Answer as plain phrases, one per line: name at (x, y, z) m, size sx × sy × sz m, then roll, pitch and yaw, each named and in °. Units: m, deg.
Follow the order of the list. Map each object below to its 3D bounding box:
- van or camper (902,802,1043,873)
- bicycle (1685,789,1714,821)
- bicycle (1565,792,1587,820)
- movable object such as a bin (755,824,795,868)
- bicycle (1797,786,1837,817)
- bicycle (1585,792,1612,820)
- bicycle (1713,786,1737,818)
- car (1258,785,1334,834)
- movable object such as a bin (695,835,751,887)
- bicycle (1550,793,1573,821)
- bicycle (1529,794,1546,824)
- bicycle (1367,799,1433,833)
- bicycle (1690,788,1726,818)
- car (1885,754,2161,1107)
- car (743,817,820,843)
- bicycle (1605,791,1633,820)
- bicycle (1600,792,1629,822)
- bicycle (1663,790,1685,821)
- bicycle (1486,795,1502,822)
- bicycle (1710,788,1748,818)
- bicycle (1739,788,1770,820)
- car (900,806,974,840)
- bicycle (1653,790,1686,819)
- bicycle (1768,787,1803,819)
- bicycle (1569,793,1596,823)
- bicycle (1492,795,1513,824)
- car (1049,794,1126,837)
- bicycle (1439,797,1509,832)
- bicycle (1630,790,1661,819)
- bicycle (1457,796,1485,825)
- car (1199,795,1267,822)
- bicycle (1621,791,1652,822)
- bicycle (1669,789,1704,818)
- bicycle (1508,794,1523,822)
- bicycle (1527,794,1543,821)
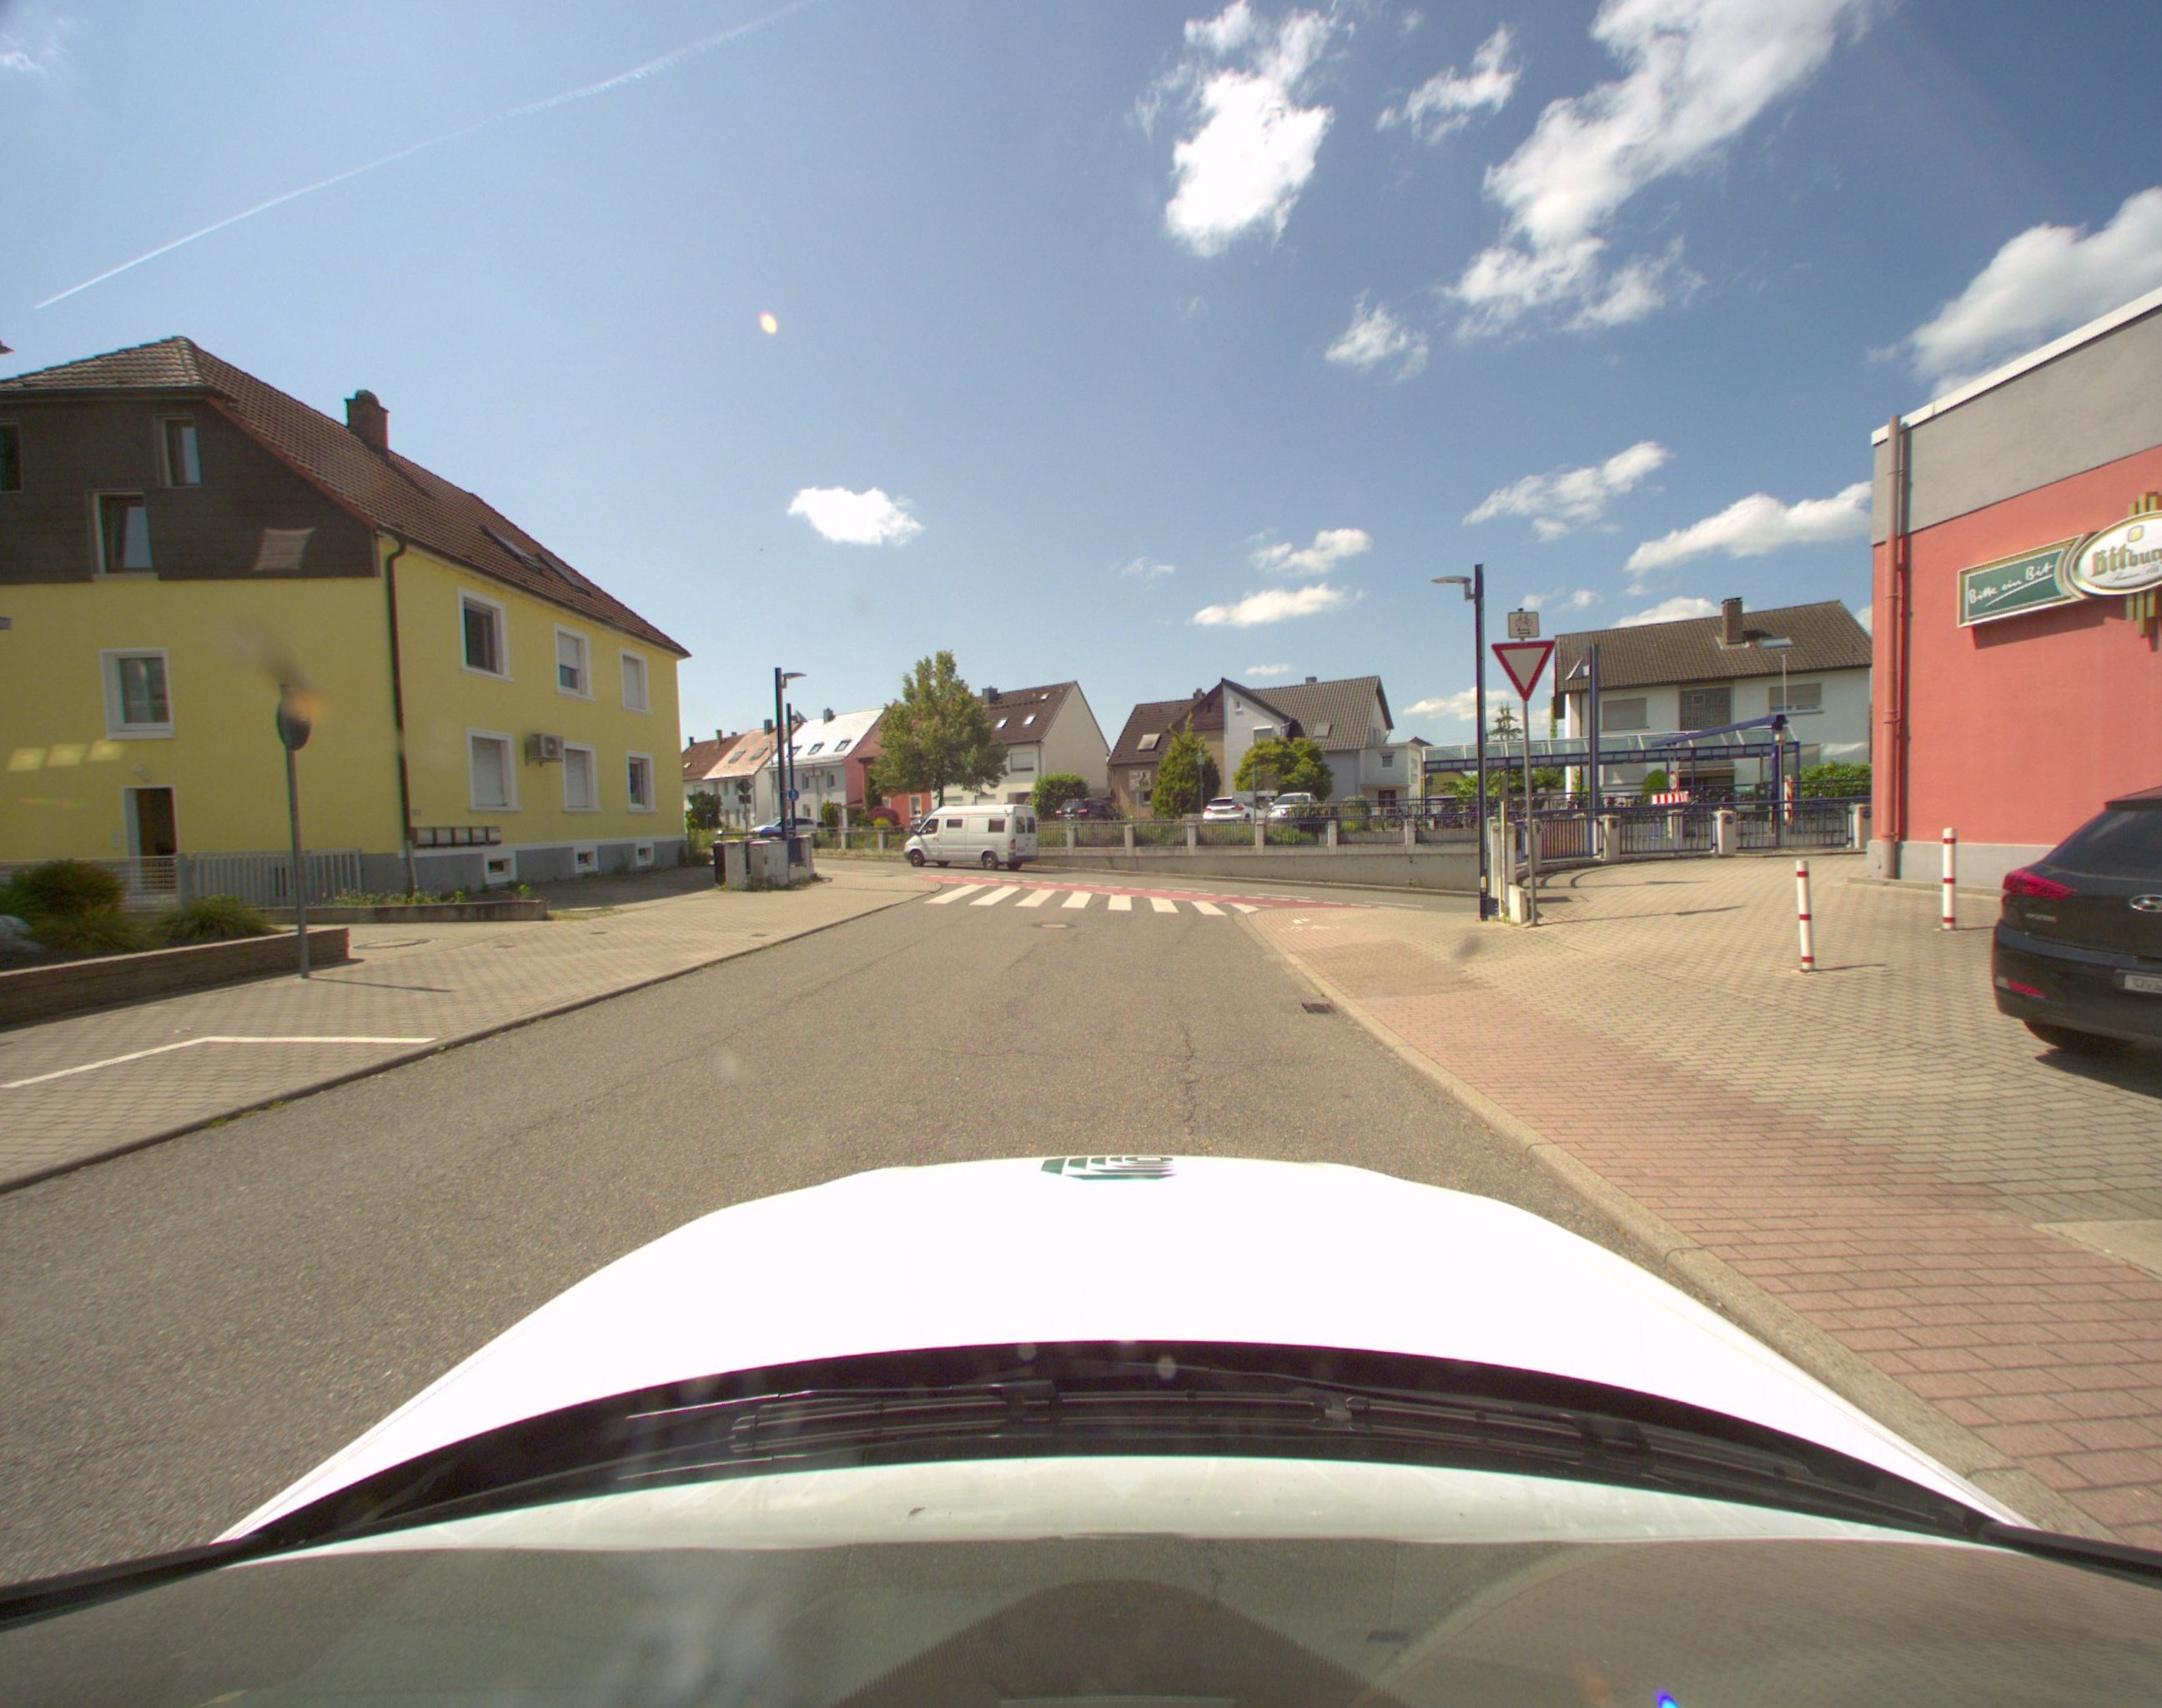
van or camper at (-4.364, -0.702, 32.549) m, size 5.326 × 2.630 × 2.016 m, roll 2°, pitch 1°, yaw 27°
bicycle at (20.541, -1.631, 27.074) m, size 0.510 × 0.994 × 2.052 m, roll 0°, pitch 3°, yaw 30°
bicycle at (18.282, -1.761, 30.110) m, size 0.410 × 0.994 × 1.977 m, roll 0°, pitch 3°, yaw 23°
movable object such as a bin at (-8.729, -0.255, 23.279) m, size 0.840 × 1.213 × 1.272 m, roll -2°, pitch 2°, yaw -11°
bicycle at (24.686, -1.751, 27.329) m, size 0.538 × 0.994 × 2.052 m, roll 0°, pitch 3°, yaw 29°
bicycle at (18.947, -1.765, 29.859) m, size 0.514 × 0.994 × 1.977 m, roll 0°, pitch 3°, yaw 23°
bicycle at (21.194, -1.715, 26.833) m, size 0.510 × 0.994 × 2.052 m, roll 0°, pitch 3°, yaw 35°
car at (8.713, -1.760, 32.780) m, size 1.975 × 1.796 × 4.222 m, roll 3°, pitch 3°, yaw 28°
movable object such as a bin at (-8.743, 0.154, 19.924) m, size 0.881 × 1.225 × 0.903 m, roll -1°, pitch 2°, yaw 4°
bicycle at (17.852, -1.760, 30.308) m, size 0.469 × 0.994 × 1.977 m, roll 0°, pitch 3°, yaw 23°
bicycle at (16.159, -1.607, 28.813) m, size 0.431 × 0.994 × 2.296 m, roll 0°, pitch 3°, yaw 31°
bicycle at (10.992, -1.304, 28.058) m, size 2.096 × 1.125 × 0.335 m, roll 0°, pitch 3°, yaw 22°
bicycle at (22.022, -1.783, 28.640) m, size 0.514 × 0.994 × 1.977 m, roll 0°, pitch 3°, yaw 23°
car at (6.676, 0.137, 3.848) m, size 3.883 × 1.490 × 1.810 m, roll -8°, pitch 1°, yaw 0°
car at (-18.773, -1.508, 51.201) m, size 1.725 × 1.488 × 4.284 m, roll 4°, pitch 3°, yaw 34°
bicycle at (19.612, -1.775, 29.713) m, size 0.514 × 0.994 × 1.812 m, roll 0°, pitch 3°, yaw 23°
bicycle at (18.305, -1.619, 27.965) m, size 0.527 × 0.994 × 2.201 m, roll 0°, pitch 3°, yaw 25°
bicycle at (19.715, -1.609, 27.065) m, size 0.573 × 0.994 × 2.202 m, roll 1°, pitch 3°, yaw 36°
bicycle at (15.912, -1.763, 31.353) m, size 0.369 × 0.994 × 1.979 m, roll 0°, pitch 3°, yaw 32°
bicycle at (22.548, -1.783, 28.385) m, size 0.514 × 0.994 × 1.977 m, roll 0°, pitch 3°, yaw 23°
bicycle at (21.805, -1.629, 26.401) m, size 0.510 × 0.994 × 2.052 m, roll 0°, pitch 3°, yaw 32°
car at (-7.338, -1.589, 41.916) m, size 1.850 × 1.586 × 3.632 m, roll 3°, pitch 3°, yaw 28°
bicycle at (20.863, -1.766, 28.894) m, size 0.514 × 0.994 × 1.977 m, roll 0°, pitch 3°, yaw 23°
bicycle at (22.568, -1.635, 26.120) m, size 0.538 × 0.994 × 2.052 m, roll 0°, pitch 3°, yaw 32°
bicycle at (17.337, -1.604, 28.168) m, size 0.527 × 0.994 × 2.295 m, roll 0°, pitch 3°, yaw 25°
bicycle at (15.047, -1.589, 29.038) m, size 0.431 × 0.994 × 2.116 m, roll 0°, pitch 3°, yaw 34°
car at (0.370, -1.749, 37.694) m, size 1.850 × 1.796 × 4.025 m, roll 3°, pitch 3°, yaw 28°
bicycle at (13.118, -1.316, 27.214) m, size 2.096 × 1.125 × 0.394 m, roll 0°, pitch 3°, yaw 22°
bicycle at (20.161, -1.758, 29.108) m, size 0.514 × 0.994 × 1.977 m, roll 0°, pitch 3°, yaw 23°
bicycle at (14.046, -1.576, 29.292) m, size 0.431 × 0.994 × 2.116 m, roll 1°, pitch 4°, yaw 39°
car at (6.384, -1.863, 33.991) m, size 1.808 × 1.019 × 3.481 m, roll 1°, pitch 2°, yaw 28°
bicycle at (19.026, -1.634, 27.904) m, size 0.527 × 0.994 × 2.201 m, roll 0°, pitch 3°, yaw 25°
bicycle at (21.479, -1.783, 28.916) m, size 0.514 × 0.994 × 1.977 m, roll 0°, pitch 3°, yaw 23°
bicycle at (16.492, -1.754, 30.881) m, size 0.369 × 0.994 × 1.979 m, roll 0°, pitch 3°, yaw 32°
bicycle at (17.136, -1.764, 30.765) m, size 0.422 × 0.994 × 1.978 m, roll 0°, pitch 3°, yaw 26°
